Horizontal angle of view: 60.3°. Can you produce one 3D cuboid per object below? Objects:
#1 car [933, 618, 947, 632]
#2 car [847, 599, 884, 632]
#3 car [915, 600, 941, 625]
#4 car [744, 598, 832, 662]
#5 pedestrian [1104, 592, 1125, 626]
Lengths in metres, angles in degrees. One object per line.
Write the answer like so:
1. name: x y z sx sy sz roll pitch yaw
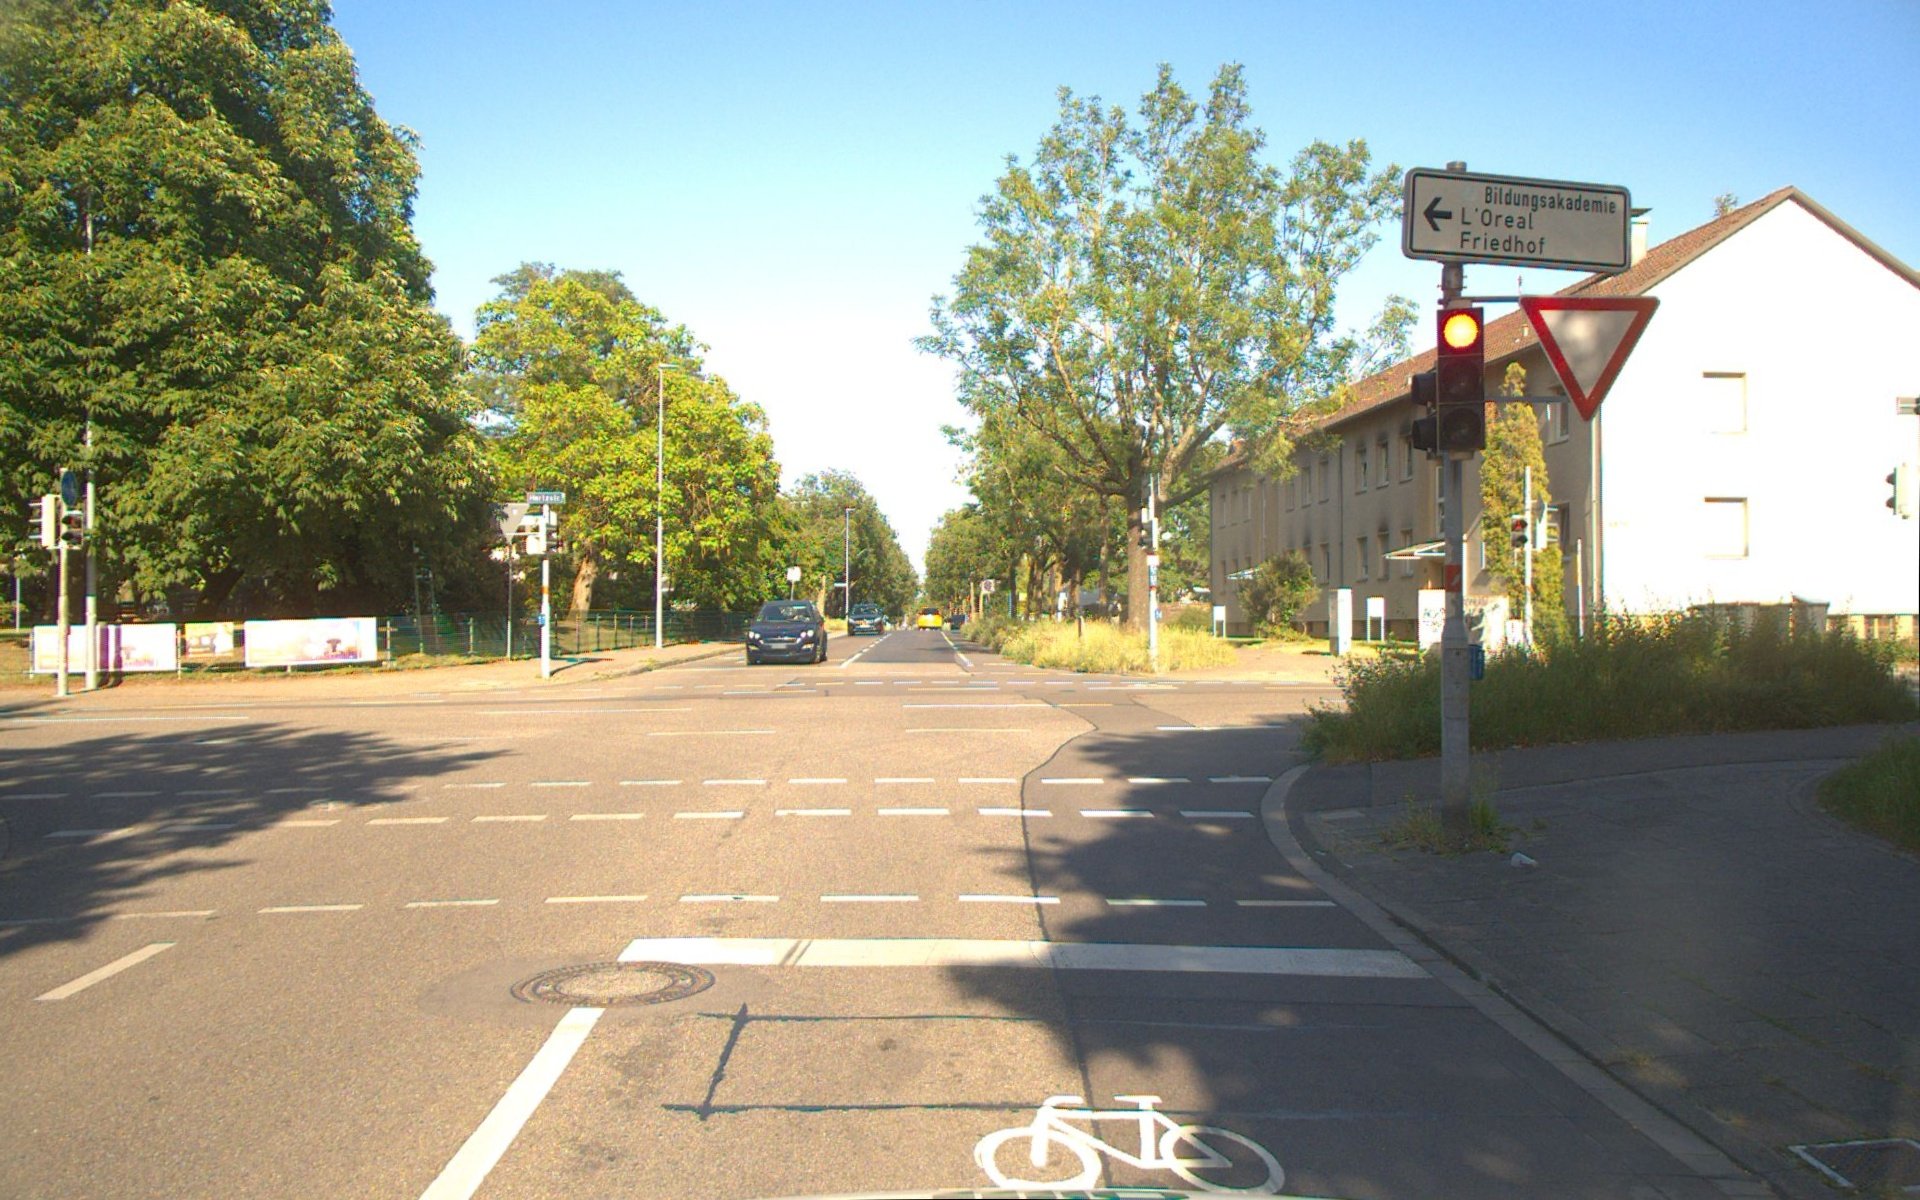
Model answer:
1. car: -2.660 3.327 219.144 1.737 1.785 3.999 1 0 -1
2. car: -4.955 0.801 87.152 1.722 1.653 3.268 0 0 0
3. car: -2.185 0.862 113.568 1.716 1.610 3.999 1 0 -1
4. car: -3.962 0.662 38.541 1.676 1.410 3.471 0 0 0
5. pedestrian: 7.029 0.406 75.190 0.825 1.519 0.924 2 0 -1
